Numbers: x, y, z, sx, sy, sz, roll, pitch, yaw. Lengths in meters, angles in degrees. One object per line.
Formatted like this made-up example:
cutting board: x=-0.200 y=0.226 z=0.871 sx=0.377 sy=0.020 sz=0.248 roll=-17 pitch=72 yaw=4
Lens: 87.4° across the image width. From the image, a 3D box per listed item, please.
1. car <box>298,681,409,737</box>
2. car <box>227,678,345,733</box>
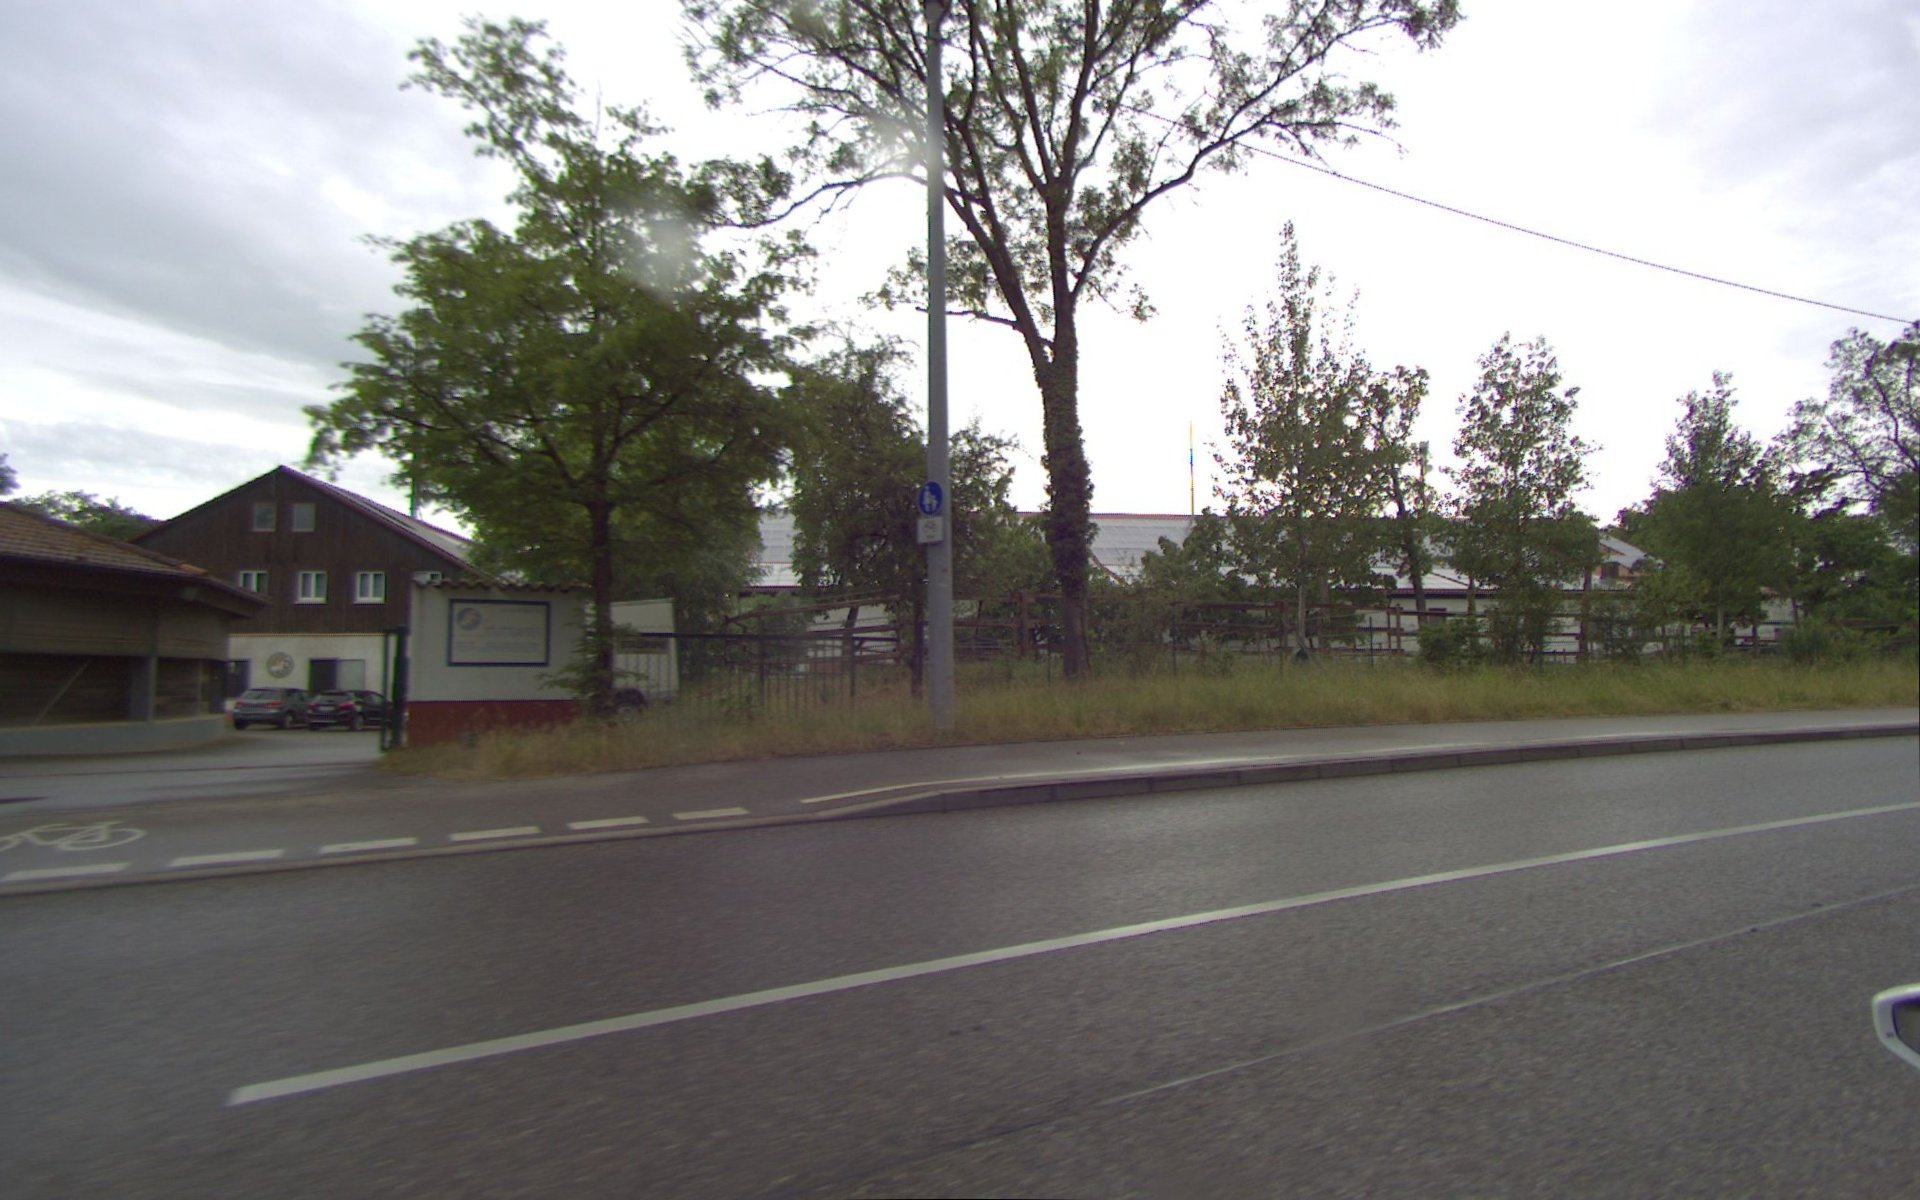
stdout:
car: x=-21.961 y=3.907 z=36.527 sx=1.719 sy=1.639 sz=3.866 roll=1 pitch=-1 yaw=-1
car: x=-24.588 y=3.813 z=36.820 sx=1.717 sy=1.639 sz=3.866 roll=1 pitch=-1 yaw=-1
